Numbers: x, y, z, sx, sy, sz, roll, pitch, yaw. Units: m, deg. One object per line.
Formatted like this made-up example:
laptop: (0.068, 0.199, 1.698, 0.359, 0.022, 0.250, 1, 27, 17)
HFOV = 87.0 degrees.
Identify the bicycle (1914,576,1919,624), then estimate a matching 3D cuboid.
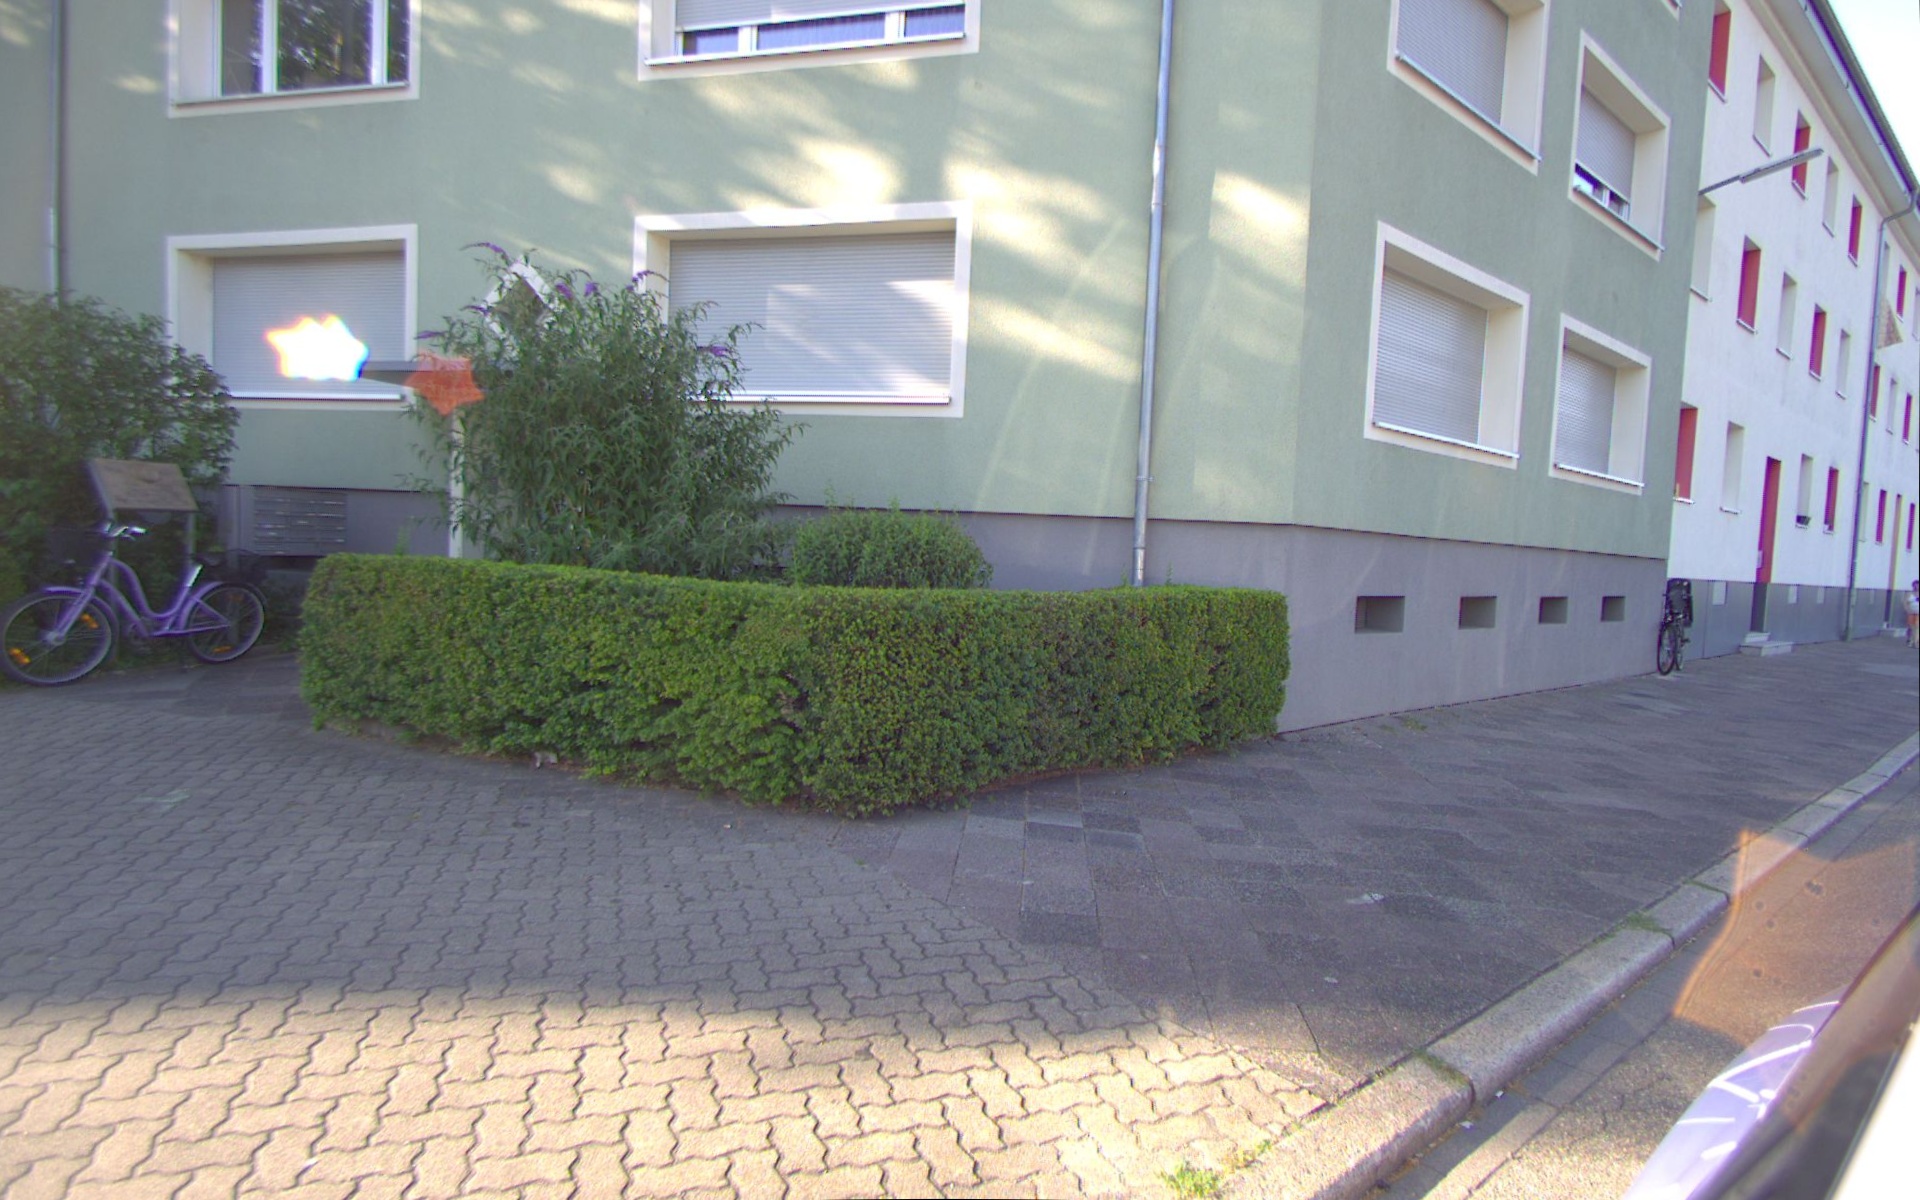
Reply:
bicycle: (29.427, 0.005, 30.738, 1.843, 1.429, 0.517, -1, 4, -44)

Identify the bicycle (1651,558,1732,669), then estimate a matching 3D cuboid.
bicycle: (10.128, 0.156, 13.988, 1.843, 1.429, 0.517, -1, 4, -44)

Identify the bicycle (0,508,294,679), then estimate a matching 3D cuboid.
bicycle: (-5.914, -0.088, 7.287, 0.515, 1.069, 1.920, 3, 3, 22)

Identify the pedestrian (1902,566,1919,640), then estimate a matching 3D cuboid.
pedestrian: (23.166, 0.090, 24.152, 0.933, 1.727, 0.787, 0, 4, -41)
